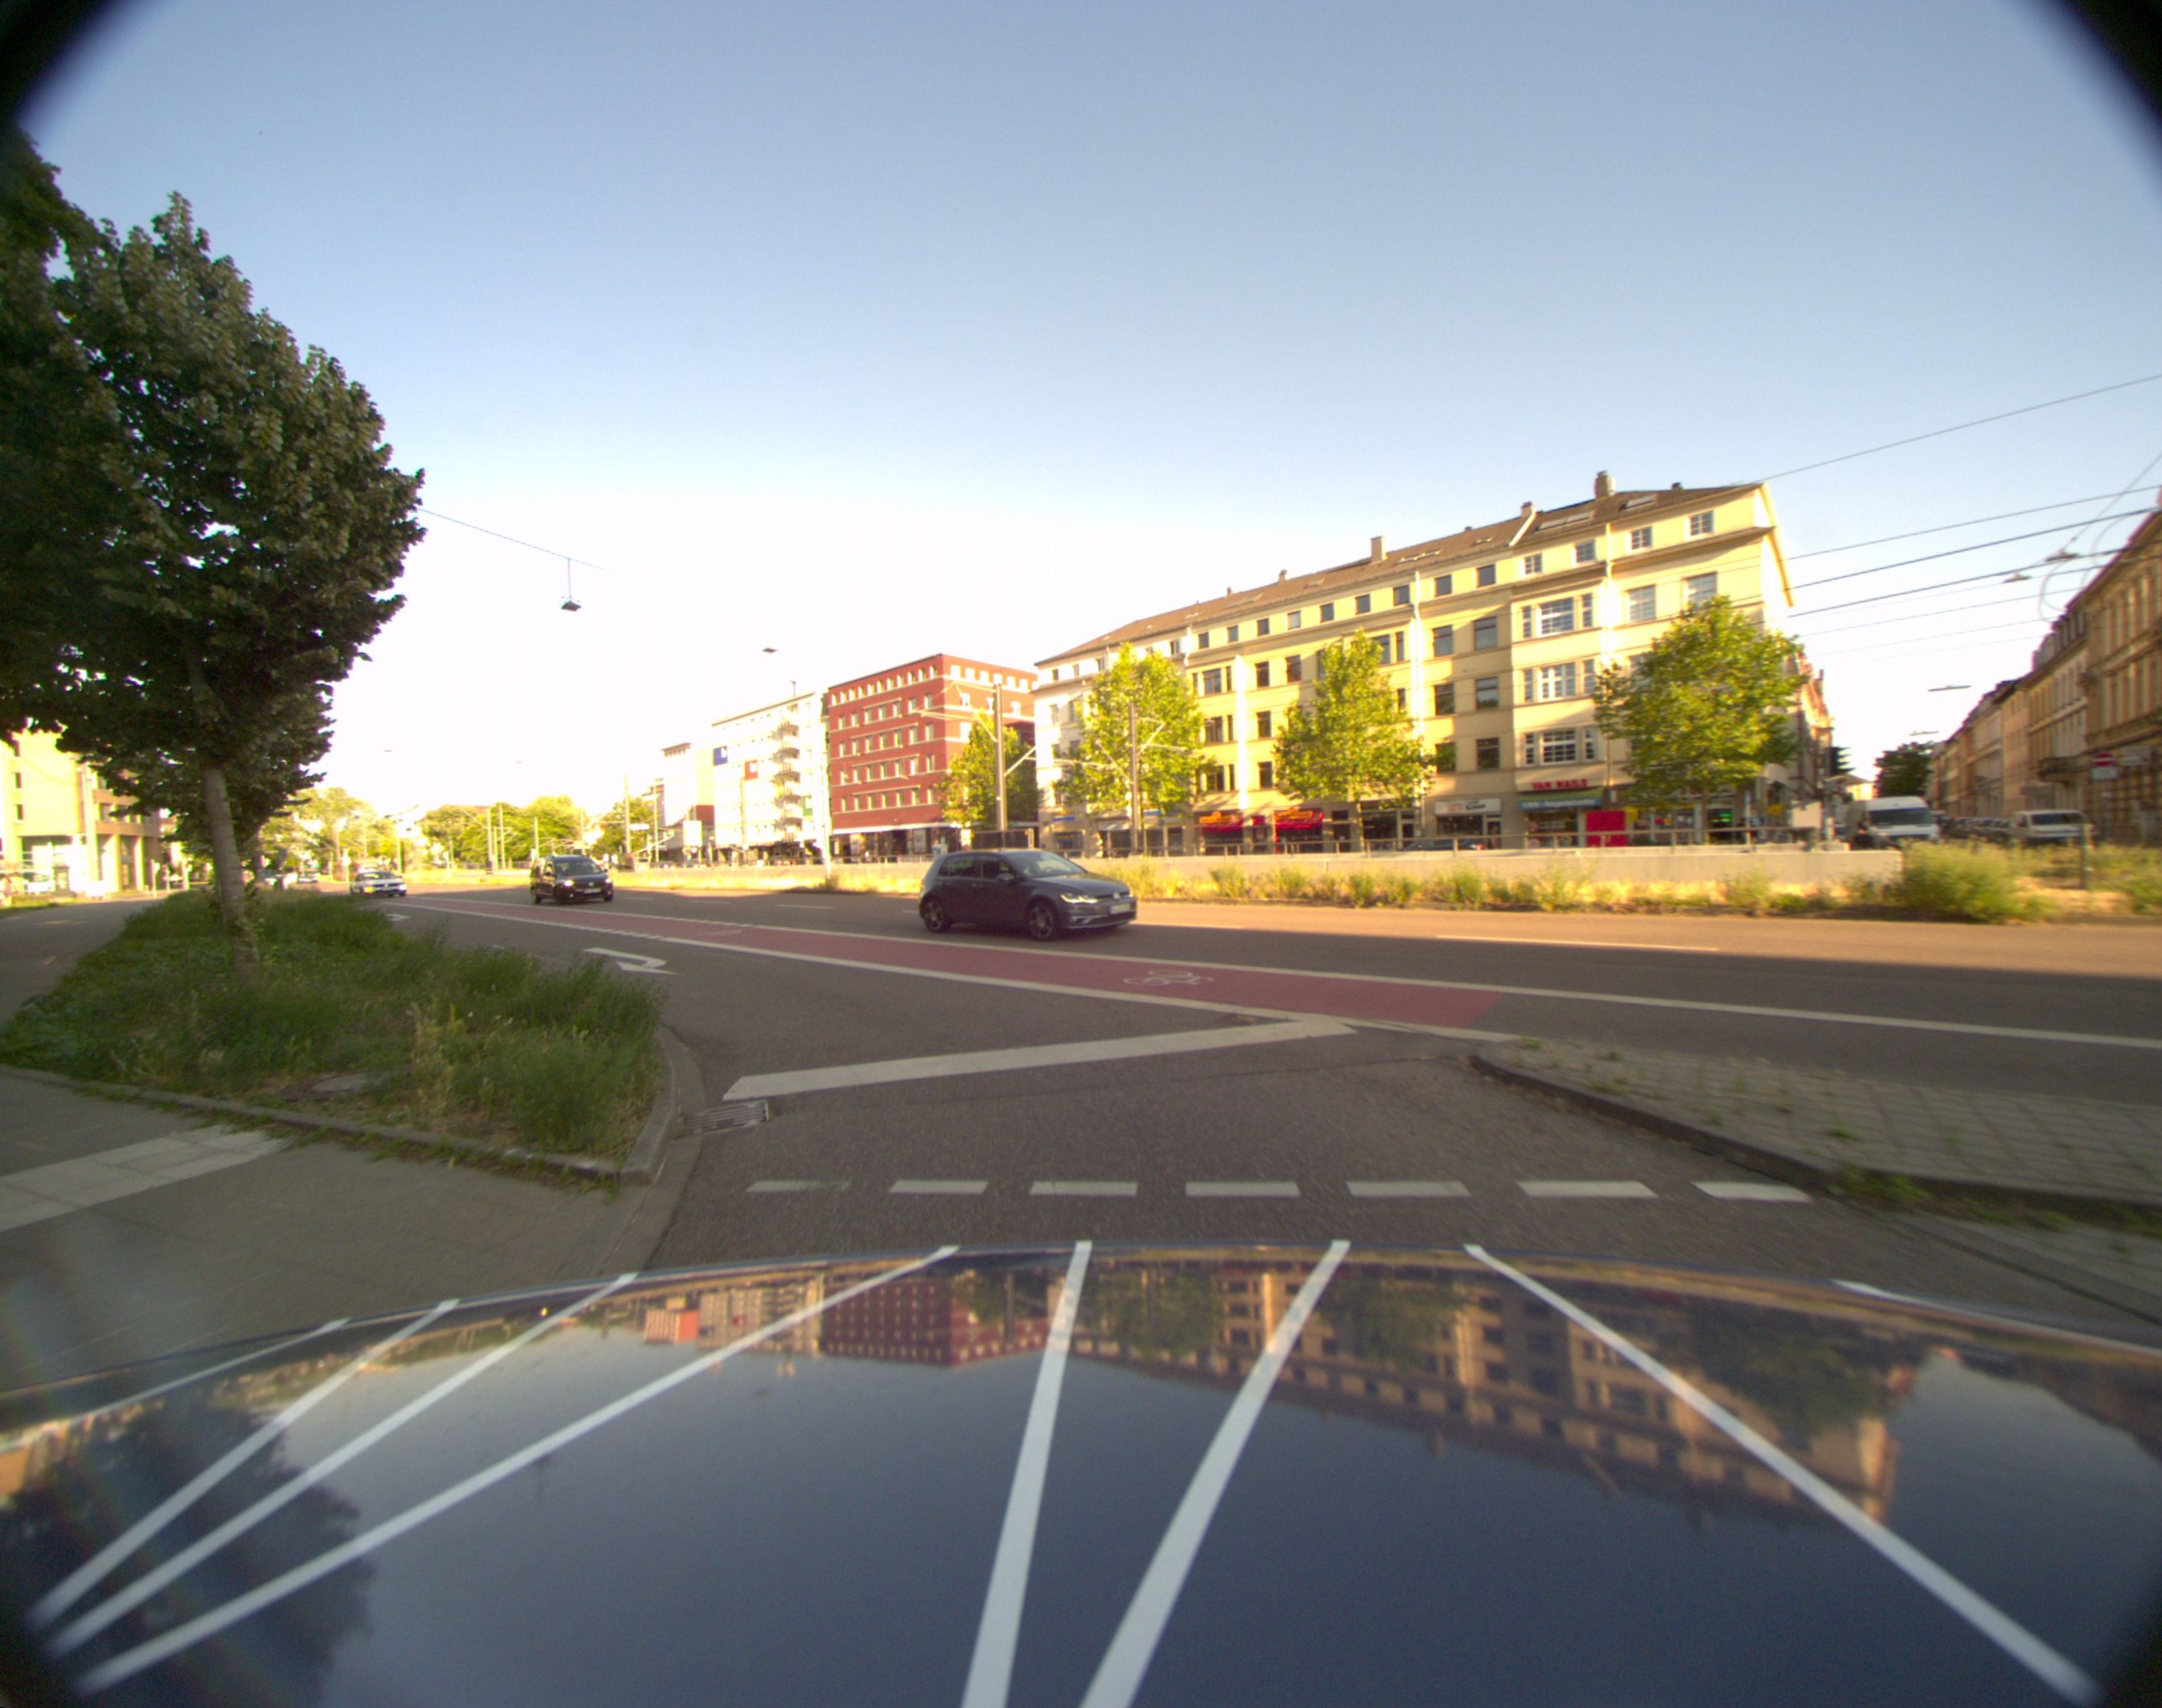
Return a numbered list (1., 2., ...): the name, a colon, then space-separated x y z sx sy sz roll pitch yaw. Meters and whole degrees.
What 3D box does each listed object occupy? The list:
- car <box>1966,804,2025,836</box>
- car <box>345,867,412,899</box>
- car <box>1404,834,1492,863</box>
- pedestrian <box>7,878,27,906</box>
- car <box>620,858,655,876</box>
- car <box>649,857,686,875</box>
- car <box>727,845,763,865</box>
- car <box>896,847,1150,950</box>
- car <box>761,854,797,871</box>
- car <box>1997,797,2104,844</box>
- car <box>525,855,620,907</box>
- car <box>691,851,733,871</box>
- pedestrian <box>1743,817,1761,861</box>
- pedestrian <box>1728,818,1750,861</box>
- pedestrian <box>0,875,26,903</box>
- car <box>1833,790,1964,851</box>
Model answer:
1. car: 56.058 -2.070 46.640 1.780 1.805 4.008 -1 1 42
2. car: -39.722 1.620 42.948 4.266 1.529 1.838 -1 4 36
3. car: 18.447 -0.284 38.269 3.699 1.325 1.461 0 4 42
4. pedestrian: -64.500 2.287 46.059 0.600 1.679 0.779 -1 -1 -45
5. car: -51.446 1.497 88.095 4.761 2.002 2.004 -1 2 40
6. car: -44.840 1.338 82.354 4.881 1.787 2.004 -1 1 43
7. car: -39.049 0.119 88.191 4.560 2.122 1.963 -1 1 41
8. car: -1.110 0.701 13.034 4.233 1.418 1.774 -2 2 40
9. car: -35.012 0.985 88.059 4.729 1.787 2.004 -1 1 42
10. car: 42.533 -1.457 33.467 1.981 1.876 4.707 -1 1 40
11. car: -18.744 0.962 27.923 4.136 1.722 1.774 -1 2 41
12. car: -35.871 0.706 73.767 4.965 1.808 2.004 -1 1 43
13. pedestrian: 30.021 -0.666 33.991 0.584 1.908 0.634 0 5 43
14. pedestrian: 29.871 -0.682 34.490 0.633 1.908 0.584 -5 4 -29
15. pedestrian: -63.750 2.064 45.373 0.743 1.640 0.913 1 -2 -45
16. car: 34.729 -1.368 32.565 2.463 2.253 7.305 -1 1 36
